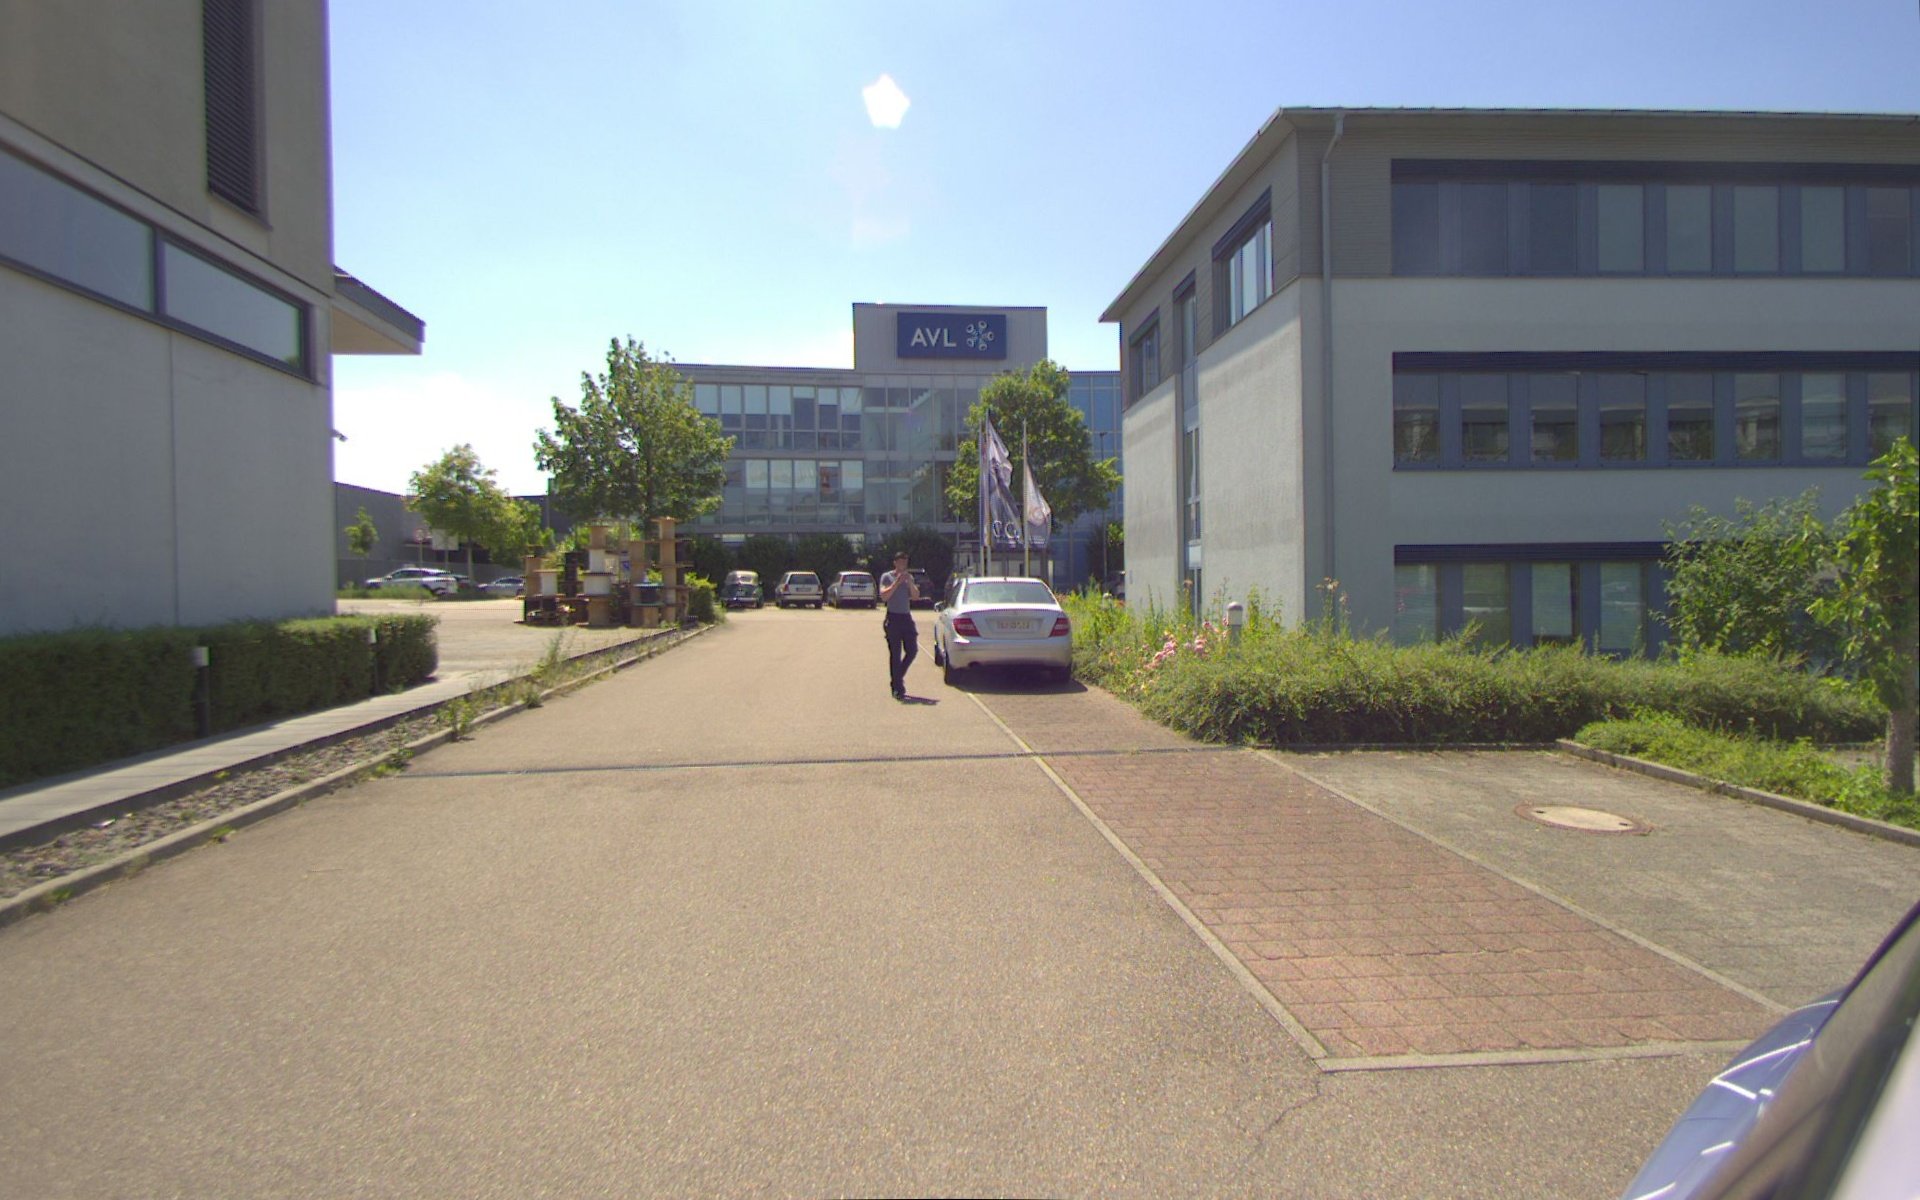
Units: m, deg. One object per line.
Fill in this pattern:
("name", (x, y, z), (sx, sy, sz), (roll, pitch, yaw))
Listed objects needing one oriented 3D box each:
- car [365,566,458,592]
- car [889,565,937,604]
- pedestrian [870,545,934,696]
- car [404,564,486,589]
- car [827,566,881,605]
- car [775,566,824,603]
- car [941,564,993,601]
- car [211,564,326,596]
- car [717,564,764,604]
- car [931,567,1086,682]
("car", (-30.540, -1.173, 56.397), (4.371, 1.433, 1.746), (0, 0, 7))
("car", (-2.015, -0.653, 42.209), (1.714, 1.538, 4.006), (0, 1, -7))
("pedestrian", (-0.718, 0.235, 12.419), (0.606, 1.779, 0.790), (0, 0, -17))
("car", (-30.133, -1.373, 59.217), (3.996, 1.433, 1.746), (0, 0, 7))
("car", (-4.497, -0.613, 42.313), (1.713, 1.538, 4.008), (0, 1, -14))
("car", (-6.624, -0.623, 41.469), (1.639, 1.458, 4.008), (0, 1, -14))
("car", (0.262, -0.739, 43.205), (1.714, 1.538, 4.006), (0, 1, -7))
("car", (-31.850, -0.909, 46.660), (4.373, 1.433, 1.746), (0, 0, 8))
("car", (-8.838, -0.650, 40.979), (1.713, 1.538, 4.007), (0, 1, -10))
("car", (0.564, 0.283, 14.654), (1.695, 1.454, 3.721), (0, 1, -6))
